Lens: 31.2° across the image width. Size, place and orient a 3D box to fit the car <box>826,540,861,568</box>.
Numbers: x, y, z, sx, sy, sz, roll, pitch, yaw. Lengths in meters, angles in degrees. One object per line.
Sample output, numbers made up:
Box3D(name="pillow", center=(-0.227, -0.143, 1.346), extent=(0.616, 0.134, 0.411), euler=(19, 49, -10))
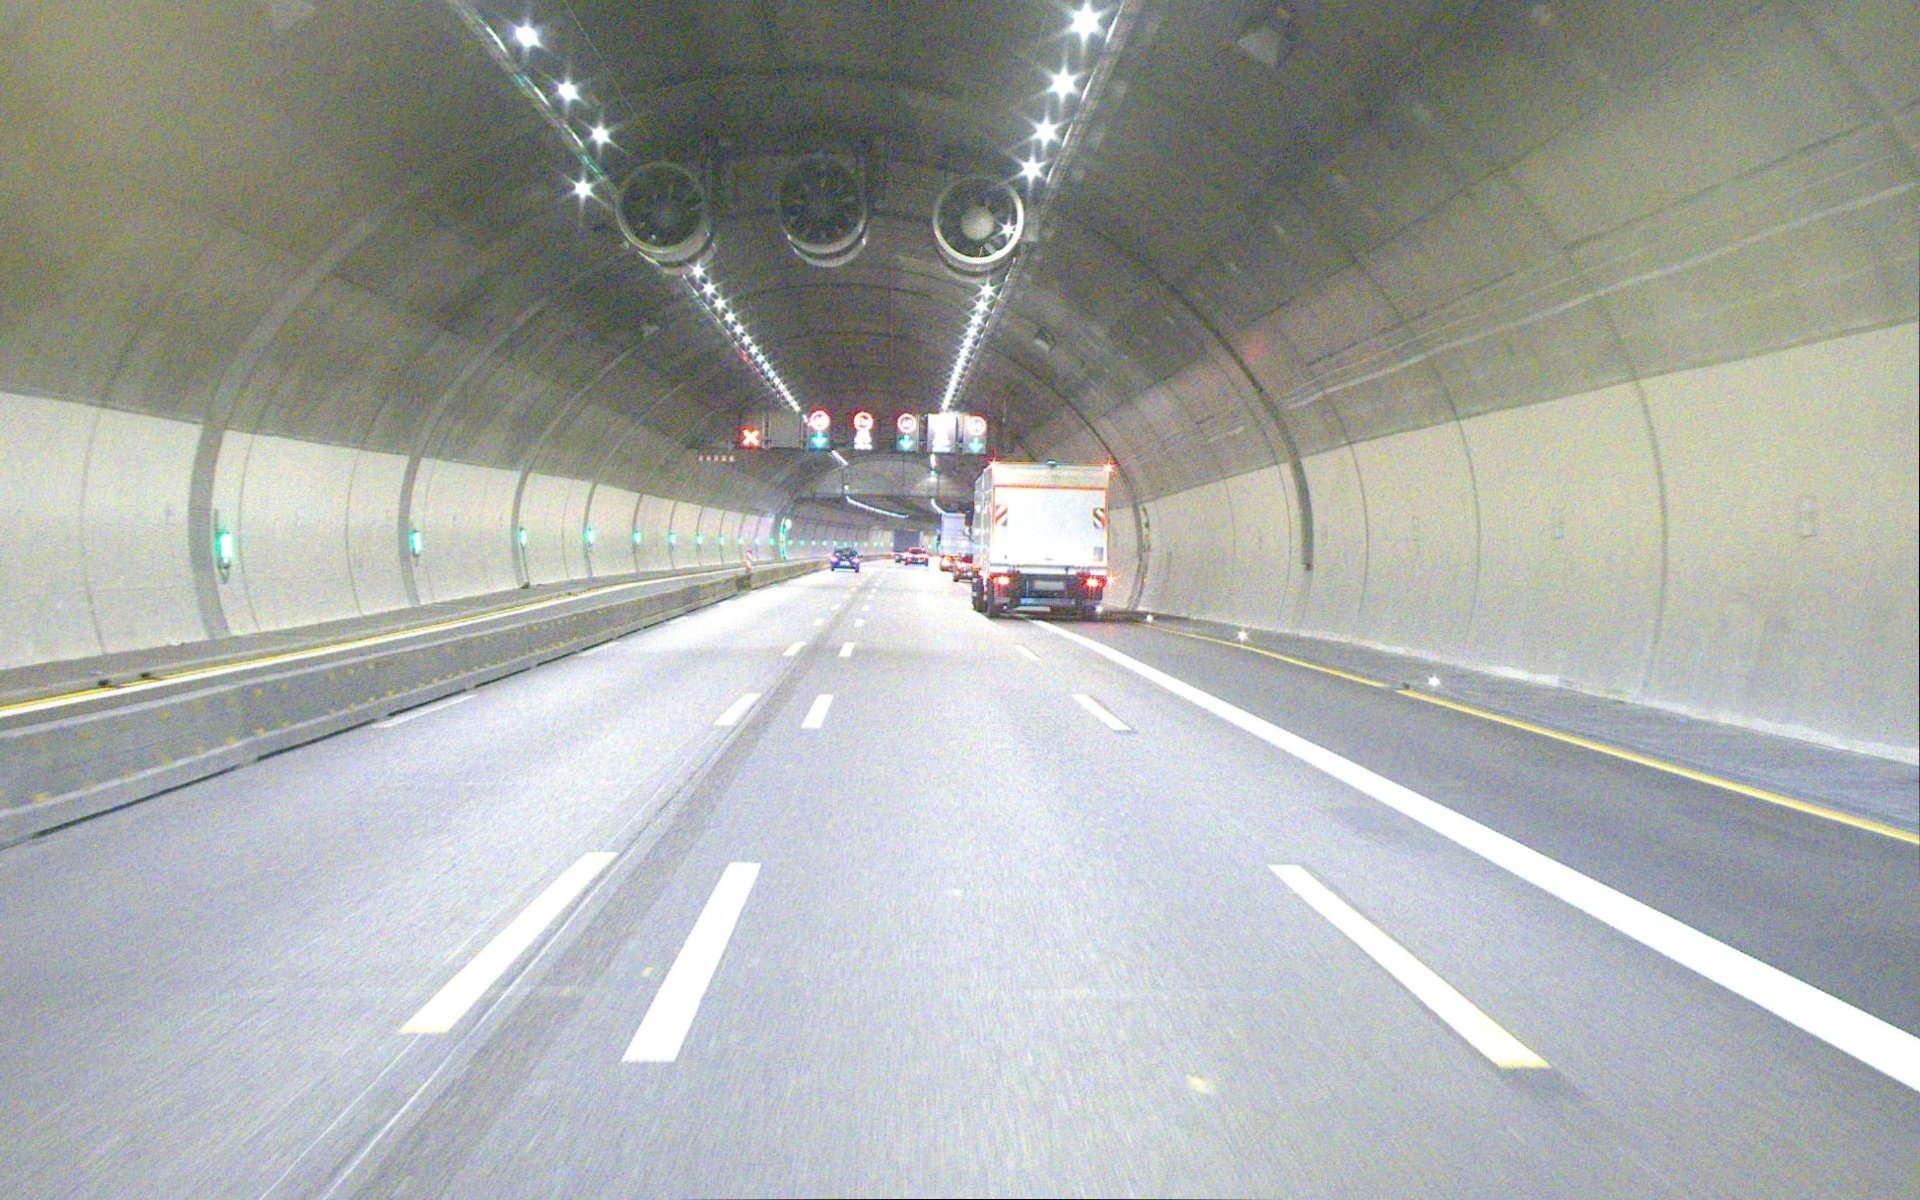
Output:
Box3D(name="car", center=(-6.453, -2.589, 191.070), extent=(1.758, 1.456, 4.119), euler=(2, 2, 0))

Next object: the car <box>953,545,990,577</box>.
Box3D(name="car", center=(0.578, -1.928, 167.381), extent=(1.739, 1.456, 3.960), euler=(2, 2, 1))

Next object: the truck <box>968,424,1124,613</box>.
Box3D(name="truck", center=(1.840, -1.754, 78.299), extent=(3.092, 3.904, 10.368), euler=(2, 0, 0))

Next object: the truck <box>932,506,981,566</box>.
Box3D(name="truck", center=(-0.207, -4.378, 239.077), extent=(3.066, 3.904, 10.367), euler=(2, 0, 1))
